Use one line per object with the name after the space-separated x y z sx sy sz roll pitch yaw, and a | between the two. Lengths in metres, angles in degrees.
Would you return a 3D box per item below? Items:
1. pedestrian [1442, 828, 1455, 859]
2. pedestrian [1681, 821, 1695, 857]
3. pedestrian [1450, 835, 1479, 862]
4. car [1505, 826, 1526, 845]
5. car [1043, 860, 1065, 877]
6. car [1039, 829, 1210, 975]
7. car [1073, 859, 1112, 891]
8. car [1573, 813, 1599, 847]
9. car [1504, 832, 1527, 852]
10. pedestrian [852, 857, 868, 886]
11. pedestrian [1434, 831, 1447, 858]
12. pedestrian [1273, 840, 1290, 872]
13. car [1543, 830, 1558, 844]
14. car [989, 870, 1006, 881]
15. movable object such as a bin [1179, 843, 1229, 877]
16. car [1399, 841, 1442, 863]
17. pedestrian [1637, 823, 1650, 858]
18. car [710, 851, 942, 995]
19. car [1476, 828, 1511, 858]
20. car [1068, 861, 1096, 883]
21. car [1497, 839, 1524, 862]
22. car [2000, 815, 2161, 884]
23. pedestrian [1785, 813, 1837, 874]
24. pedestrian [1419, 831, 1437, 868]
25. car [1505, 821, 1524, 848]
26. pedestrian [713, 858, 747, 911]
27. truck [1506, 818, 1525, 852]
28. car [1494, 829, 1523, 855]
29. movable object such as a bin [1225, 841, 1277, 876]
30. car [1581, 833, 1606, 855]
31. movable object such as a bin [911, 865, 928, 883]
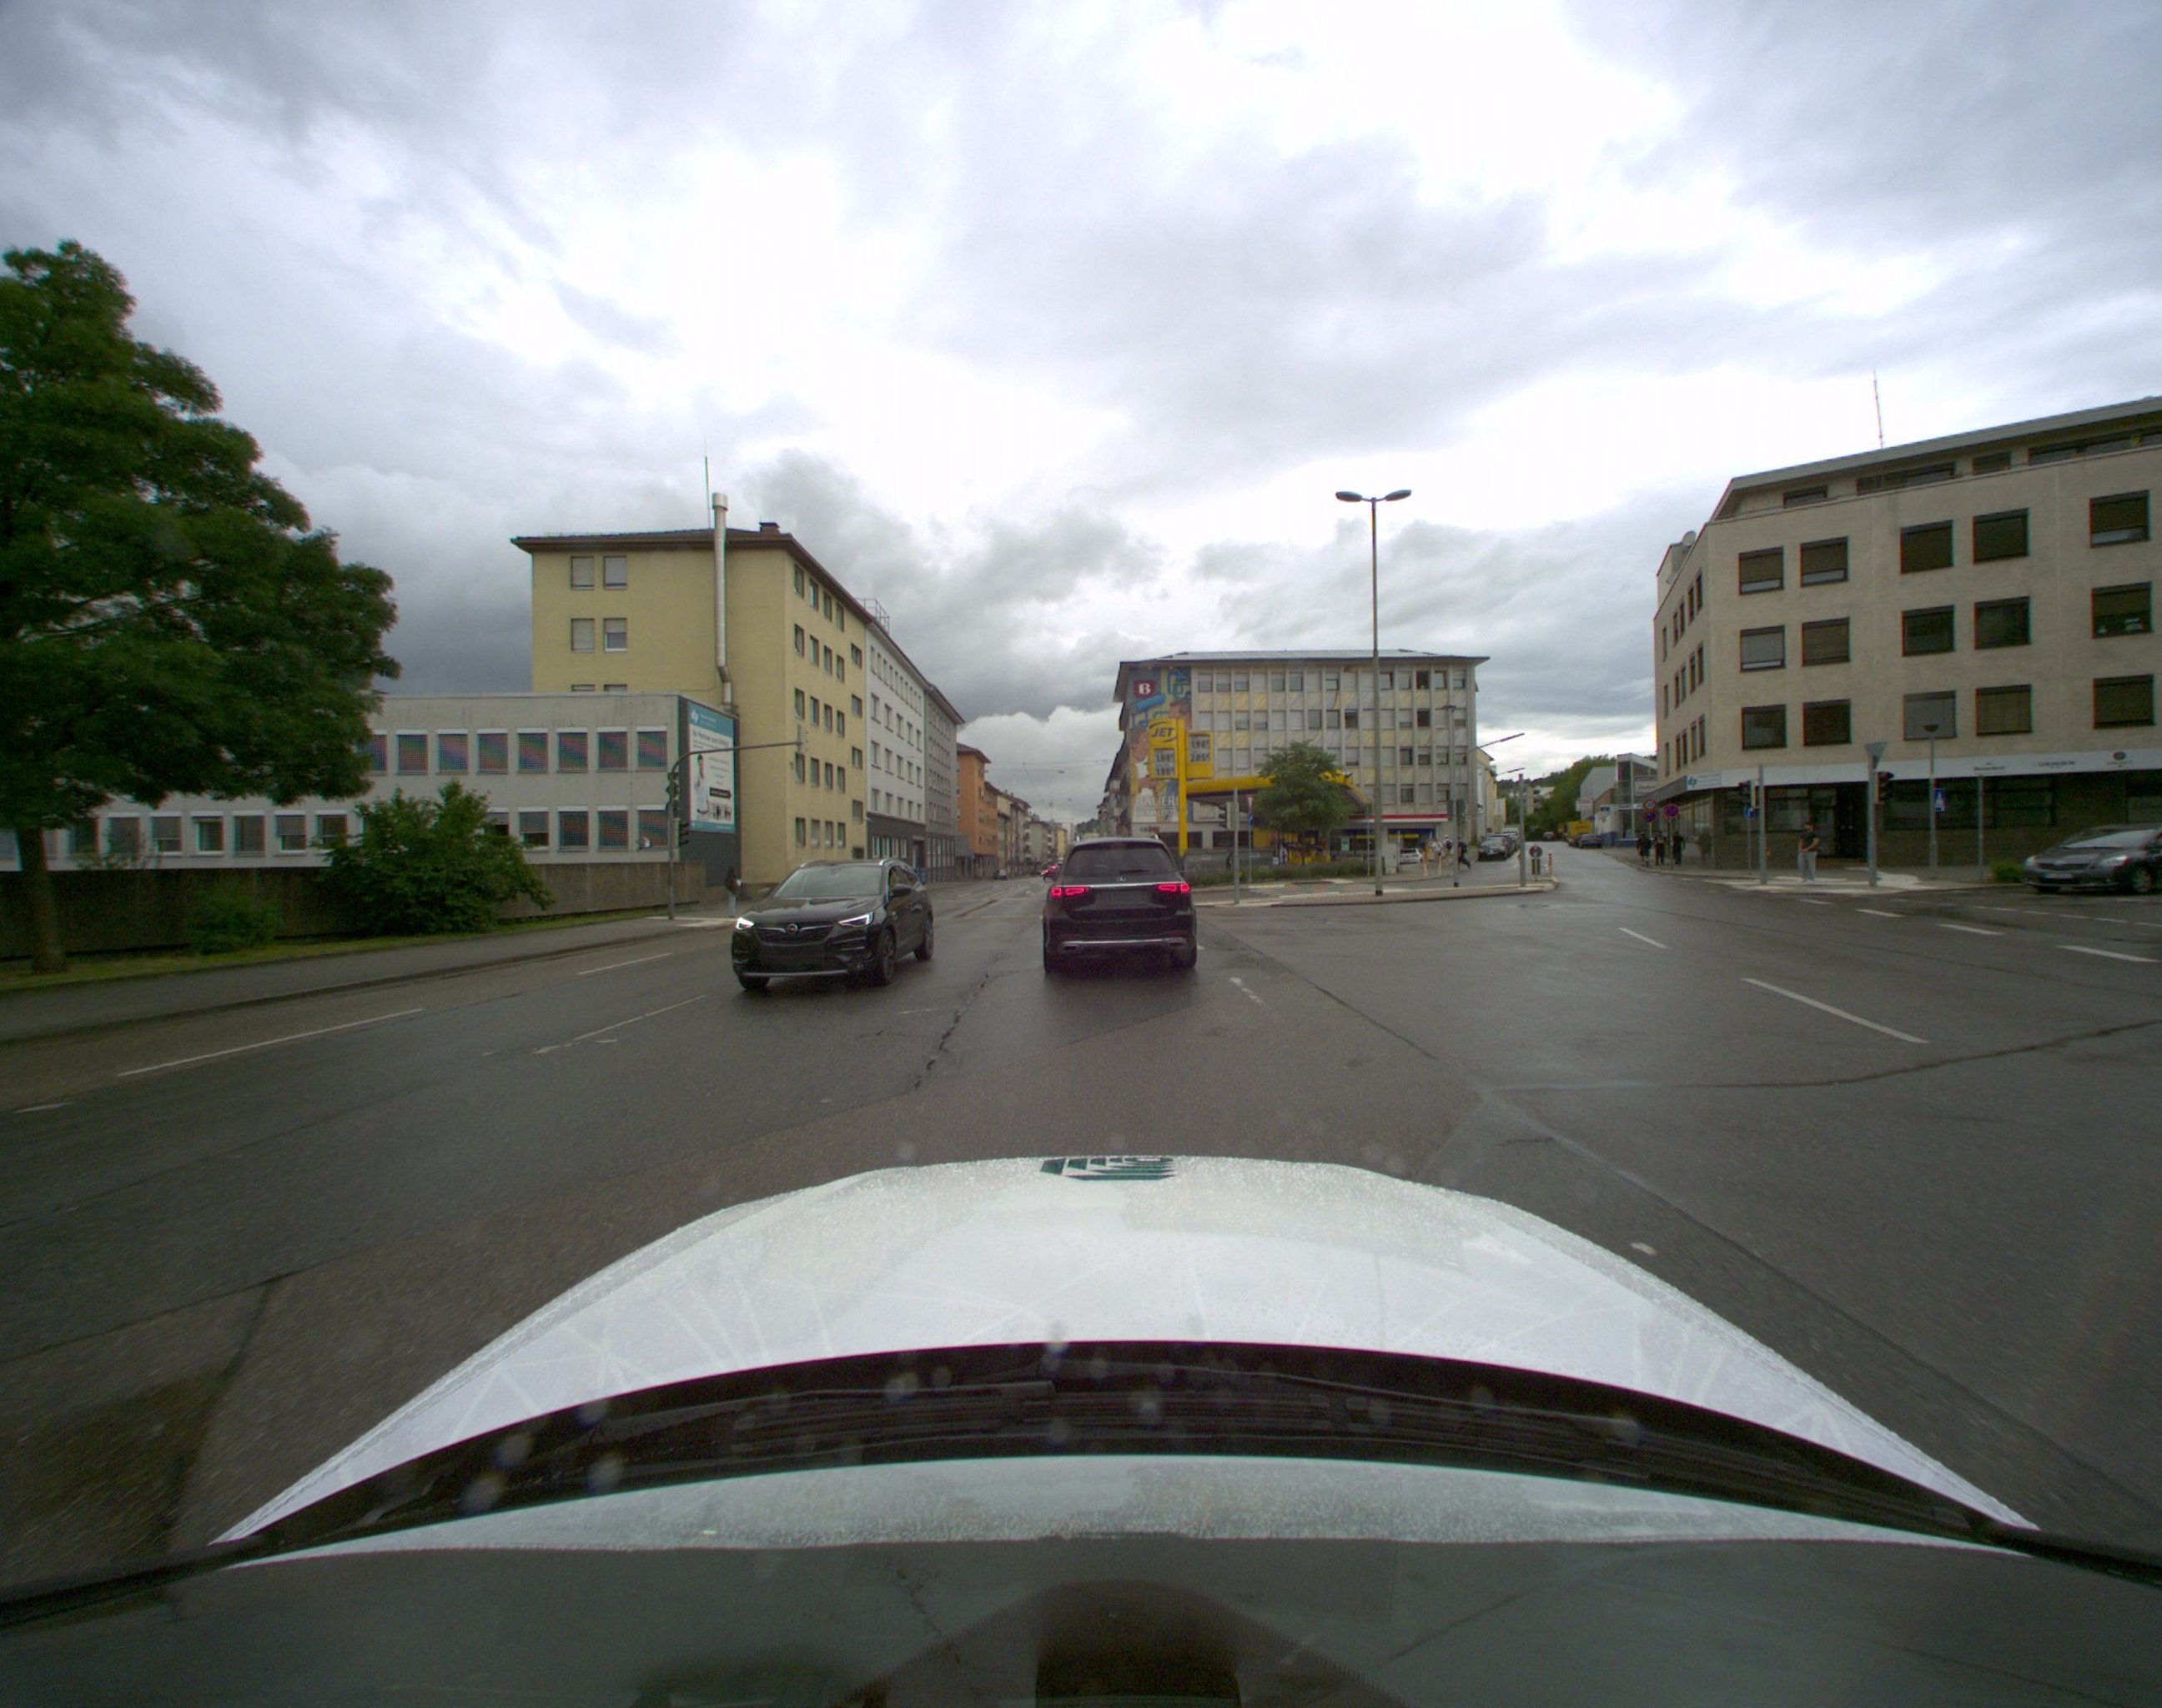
21.342 -0.610 47.257 0.671 1.758 0.735 0 -1 23 | pedestrian
29.371 -0.706 39.422 0.473 1.742 0.578 0 -1 30 | pedestrian
20.065 -0.285 42.568 0.922 1.353 1.100 1 -1 -41 | pedestrian
46.621 -1.957 87.404 1.975 1.865 4.607 0 -1 28 | car
-2.769 1.470 83.857 2.070 1.650 4.294 1 -1 0 | car
0.528 0.610 12.235 2.070 1.765 4.609 1 -1 0 | car
0.631 1.132 45.589 2.070 1.650 4.294 1 -1 0 | car
57.313 -2.667 92.525 2.354 3.688 5.024 0 -1 29 | car
43.799 -1.151 82.083 1.975 1.865 4.607 0 -1 28 | car
-13.107 1.032 48.322 0.714 1.690 0.811 1 -1 1 | pedestrian
20.297 -0.549 46.038 0.578 1.515 0.474 1 -1 -41 | pedestrian
10.174 0.102 41.341 0.662 1.585 0.847 1 -1 2 | pedestrian
72.847 -2.588 126.388 1.974 2.014 4.025 0 -1 31 | car
-11.197 2.842 109.294 1.886 1.459 4.545 1 -1 -2 | car
5.968 0.304 39.678 2.148 1.574 1.773 -2 -1 0 | movable object such as a bin
25.983 -0.096 62.260 1.974 1.516 4.446 -4 -3 37 | car
28.022 -0.657 40.569 0.473 1.742 0.578 0 -1 30 | pedestrian
-3.259 0.804 11.372 1.801 1.594 4.295 -1 -1 1 | car
27.566 -0.687 54.333 1.975 1.865 4.607 0 -1 28 | car
0.053 1.361 62.550 2.070 1.650 4.294 1 -1 0 | car
36.966 -0.276 70.016 1.975 1.865 4.607 0 -1 28 | car
24.903 -0.157 19.335 4.469 1.444 1.994 -3 0 -9 | car
21.725 -0.300 24.260 0.854 1.791 0.773 1 -1 -5 | pedestrian
23.874 -0.292 56.072 0.998 2.567 1.153 0 -1 14 | pedestrian
50.317 -2.202 94.474 1.975 2.974 4.607 0 -1 28 | car
-11.481 0.981 26.680 0.714 1.690 0.811 1 -1 1 | pedestrian
53.855 -2.310 100.883 1.975 3.914 5.518 0 -1 28 | truck
33.775 -0.895 64.244 1.975 1.865 4.607 0 -1 28 | car
8.277 0.223 39.756 2.148 1.555 1.773 -3 -1 0 | movable object such as a bin
50.292 -0.962 79.970 1.974 2.014 4.025 0 -1 31 | car
-12.466 1.552 62.875 1.073 1.324 1.190 1 -1 0 | movable object such as a bin
